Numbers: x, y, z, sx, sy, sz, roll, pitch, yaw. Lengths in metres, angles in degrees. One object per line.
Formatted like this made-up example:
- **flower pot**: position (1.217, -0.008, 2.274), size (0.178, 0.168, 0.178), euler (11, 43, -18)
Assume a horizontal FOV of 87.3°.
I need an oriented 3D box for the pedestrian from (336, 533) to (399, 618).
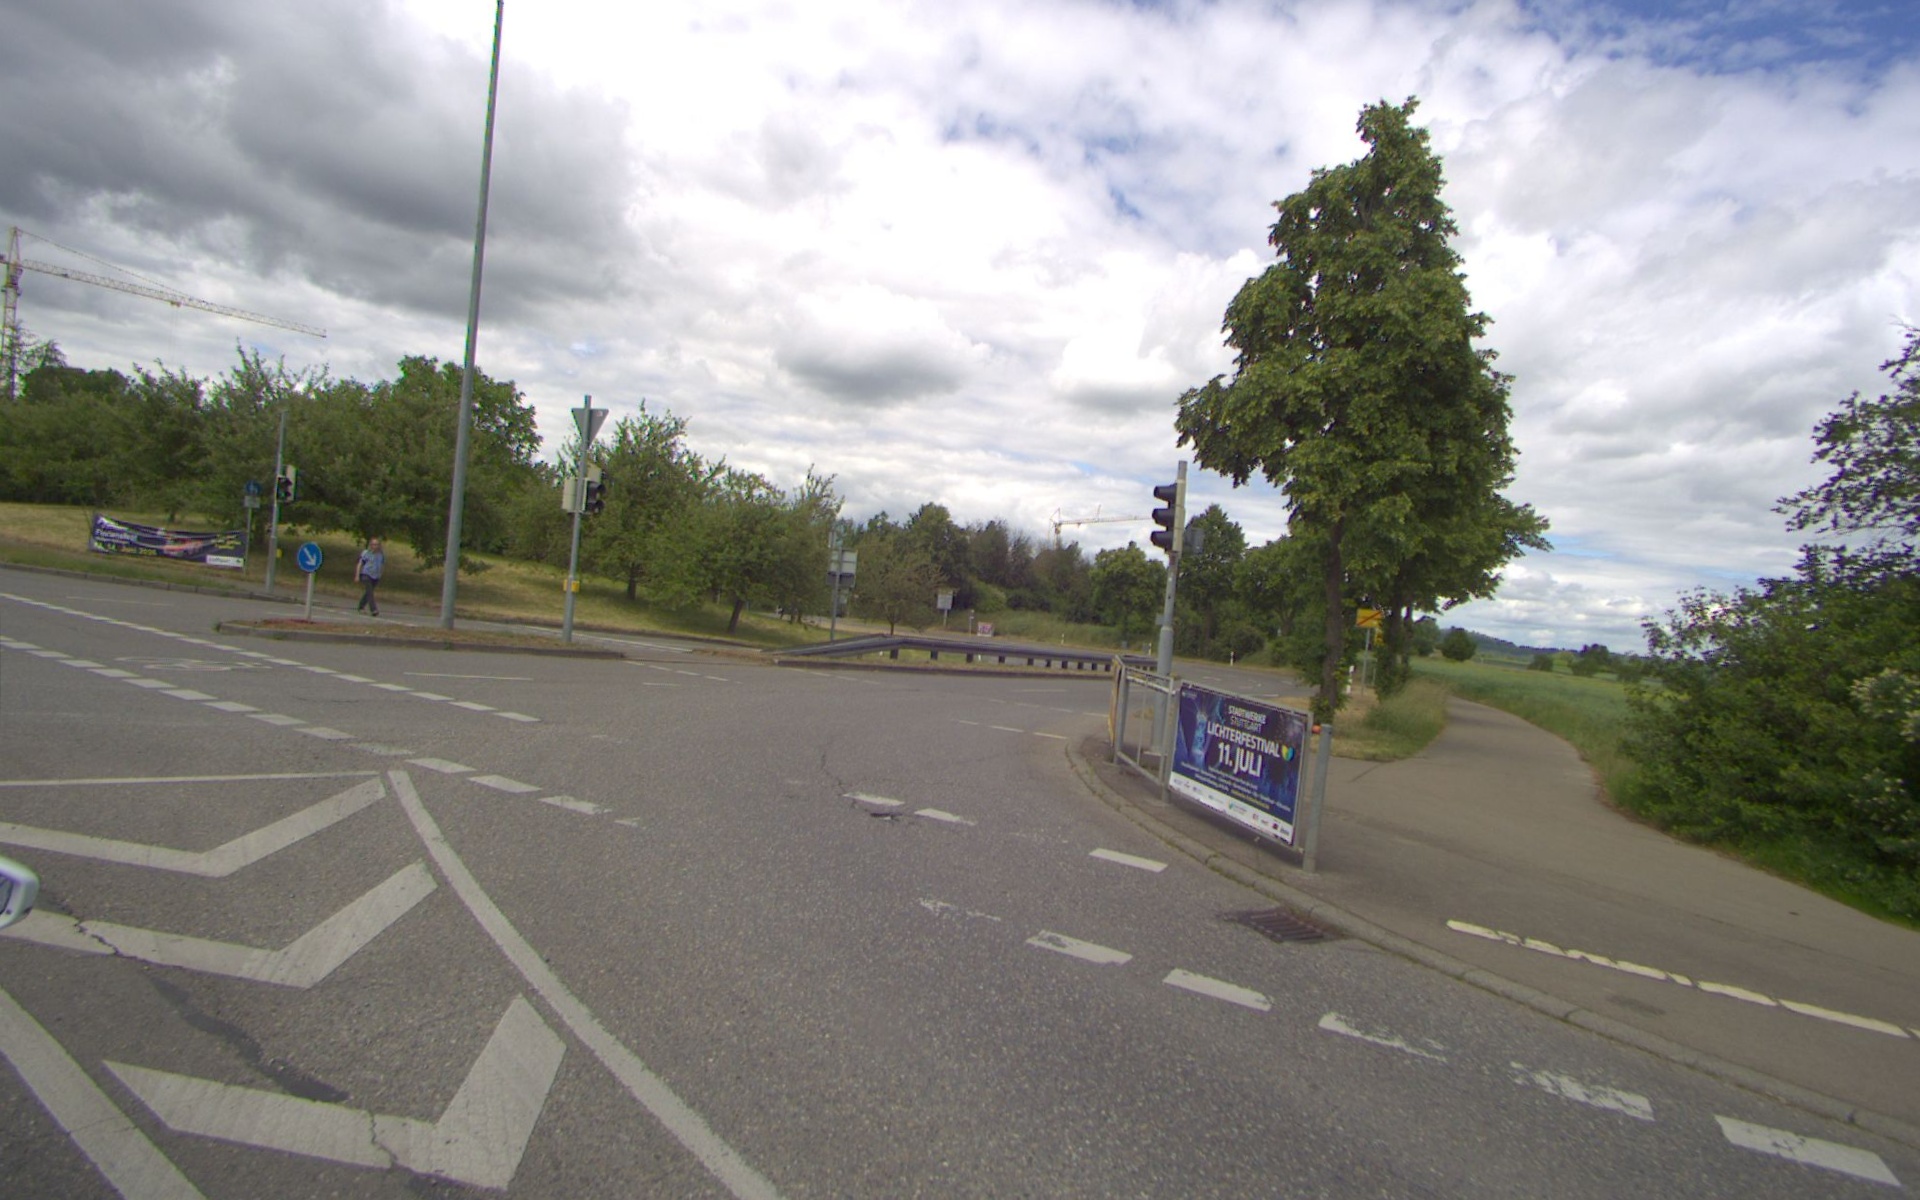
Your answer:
- **pedestrian**: position (-13.731, -0.567, 23.314), size (1.027, 1.814, 0.719), euler (6, -1, 34)
